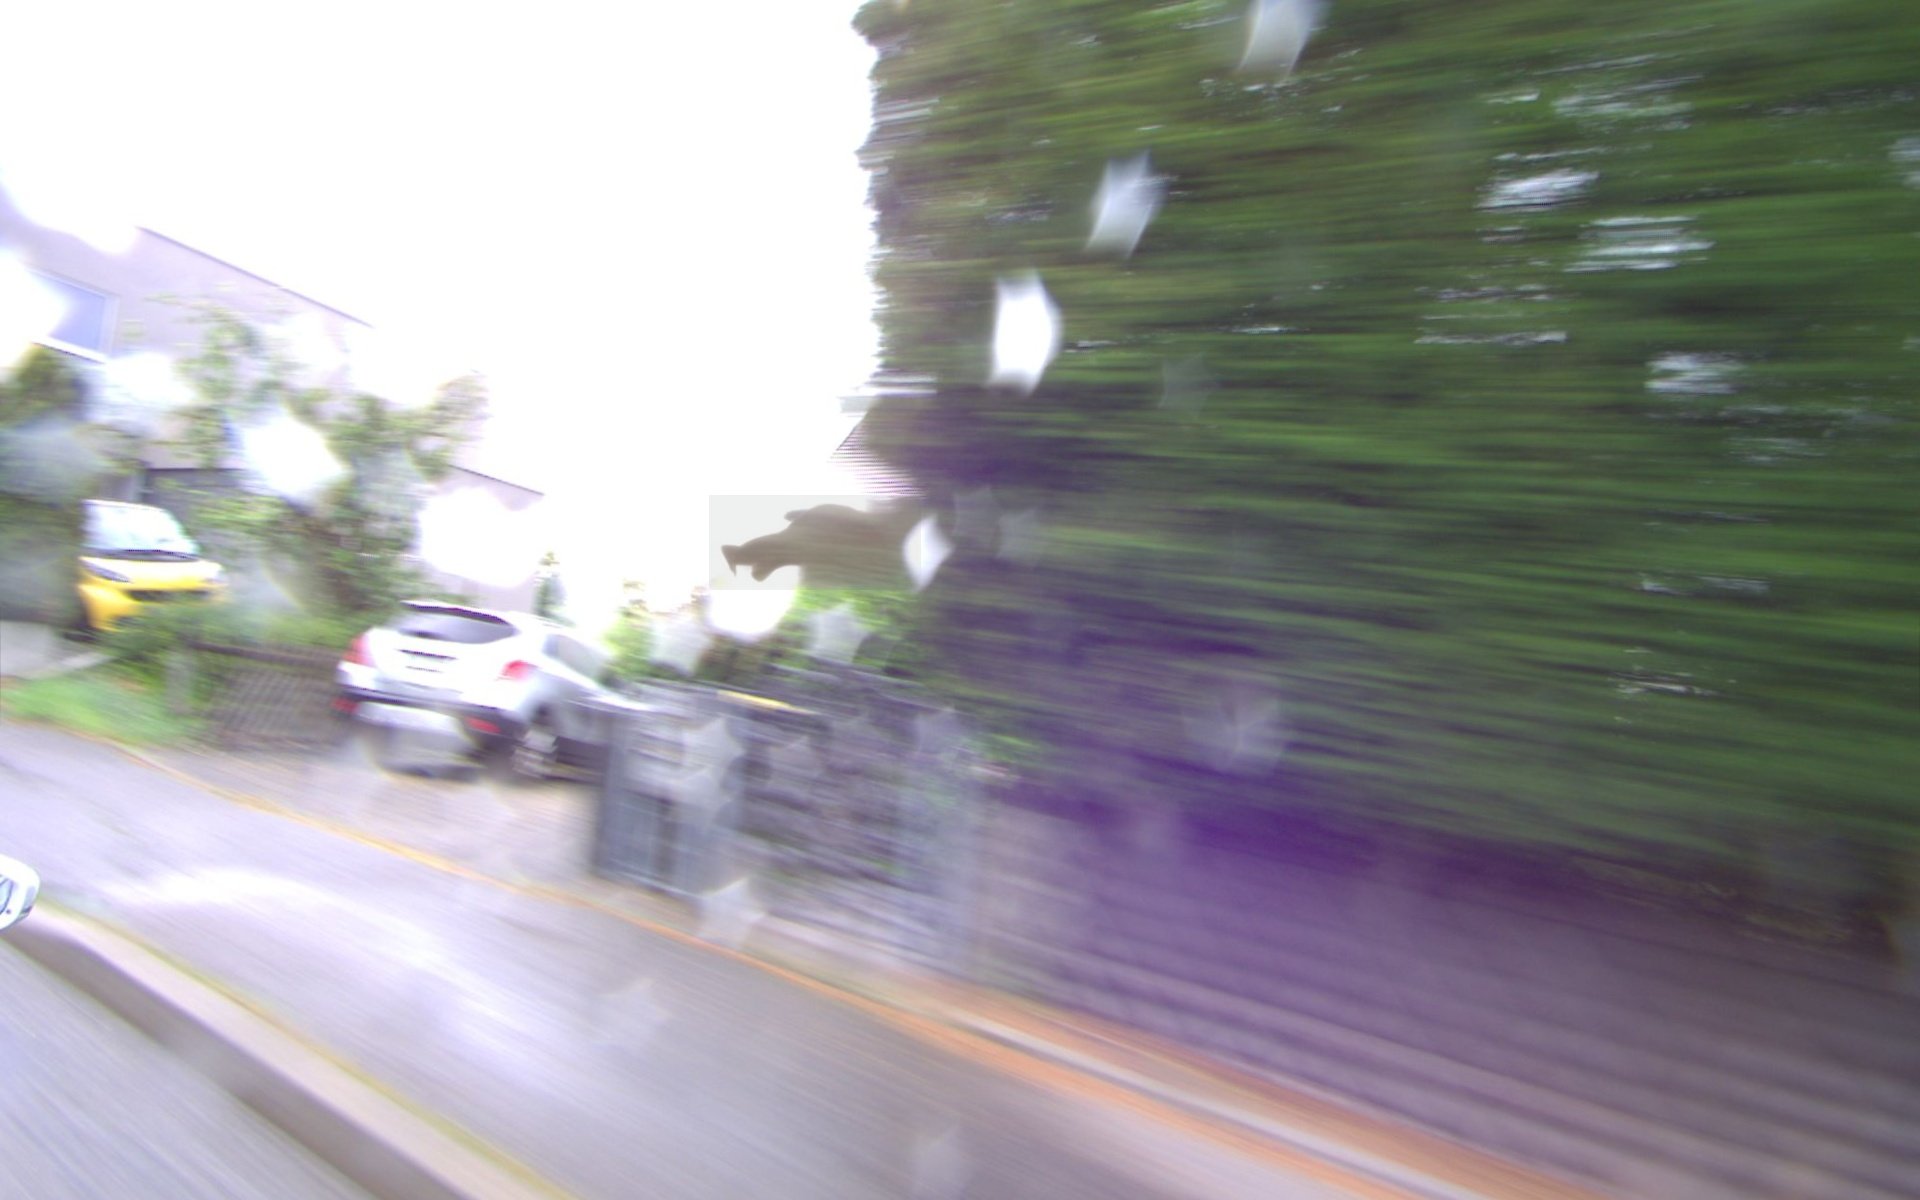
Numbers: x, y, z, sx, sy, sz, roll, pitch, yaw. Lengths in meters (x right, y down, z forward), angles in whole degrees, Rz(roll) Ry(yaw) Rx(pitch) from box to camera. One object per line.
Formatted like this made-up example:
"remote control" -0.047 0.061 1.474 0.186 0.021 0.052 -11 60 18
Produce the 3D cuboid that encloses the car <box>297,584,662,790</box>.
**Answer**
"car" -4.768 1.047 10.713 1.742 1.675 3.790 4 -9 4

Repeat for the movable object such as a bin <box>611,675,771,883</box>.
"movable object such as a bin" -1.644 1.085 6.187 0.584 1.128 0.507 7 -5 28

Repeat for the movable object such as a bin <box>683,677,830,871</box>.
"movable object such as a bin" -1.350 1.147 6.725 0.584 1.149 0.525 7 -5 28

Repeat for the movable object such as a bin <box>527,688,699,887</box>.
"movable object such as a bin" -1.963 1.050 5.717 0.584 0.979 0.507 7 -5 28

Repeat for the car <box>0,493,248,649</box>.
"car" -10.392 -0.407 11.877 3.363 1.514 1.631 6 3 21
